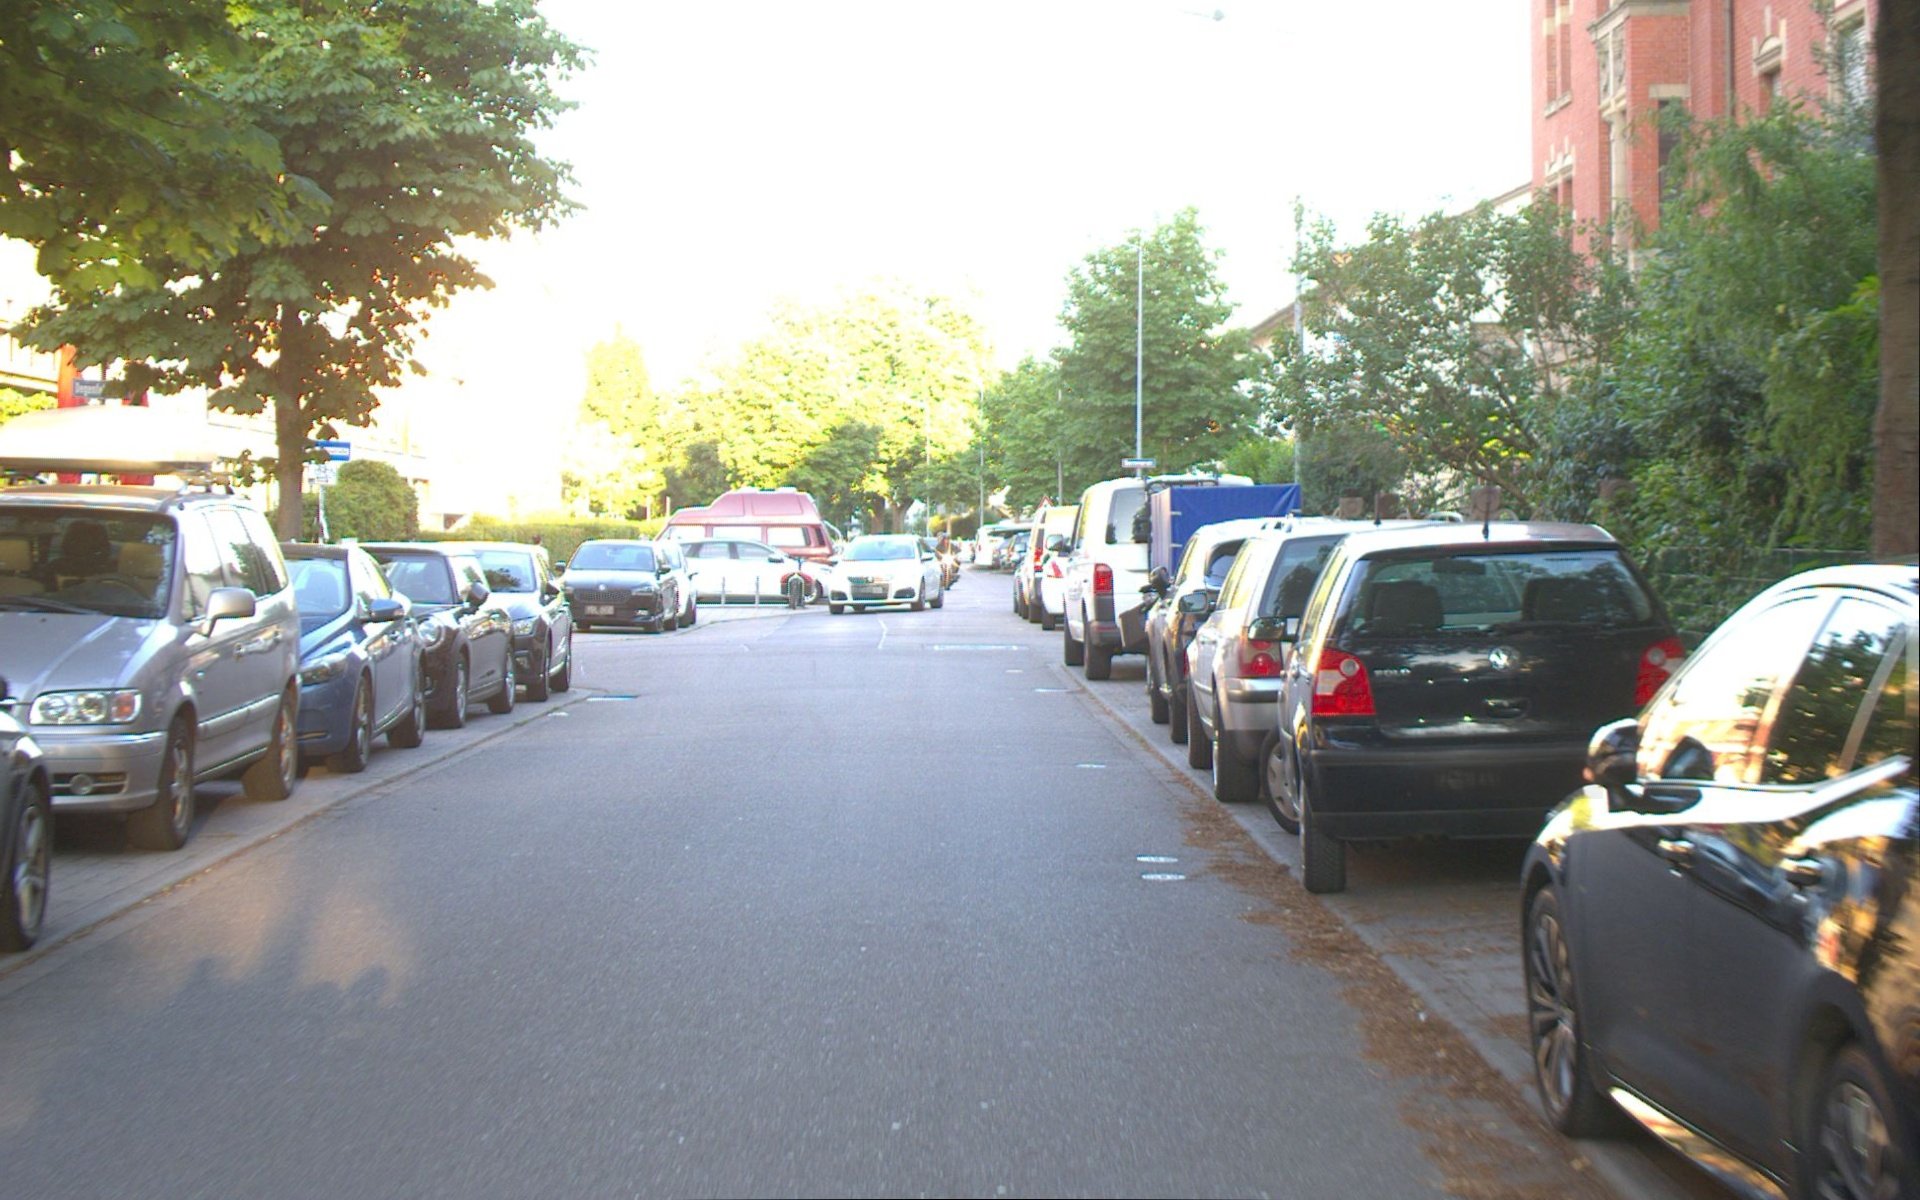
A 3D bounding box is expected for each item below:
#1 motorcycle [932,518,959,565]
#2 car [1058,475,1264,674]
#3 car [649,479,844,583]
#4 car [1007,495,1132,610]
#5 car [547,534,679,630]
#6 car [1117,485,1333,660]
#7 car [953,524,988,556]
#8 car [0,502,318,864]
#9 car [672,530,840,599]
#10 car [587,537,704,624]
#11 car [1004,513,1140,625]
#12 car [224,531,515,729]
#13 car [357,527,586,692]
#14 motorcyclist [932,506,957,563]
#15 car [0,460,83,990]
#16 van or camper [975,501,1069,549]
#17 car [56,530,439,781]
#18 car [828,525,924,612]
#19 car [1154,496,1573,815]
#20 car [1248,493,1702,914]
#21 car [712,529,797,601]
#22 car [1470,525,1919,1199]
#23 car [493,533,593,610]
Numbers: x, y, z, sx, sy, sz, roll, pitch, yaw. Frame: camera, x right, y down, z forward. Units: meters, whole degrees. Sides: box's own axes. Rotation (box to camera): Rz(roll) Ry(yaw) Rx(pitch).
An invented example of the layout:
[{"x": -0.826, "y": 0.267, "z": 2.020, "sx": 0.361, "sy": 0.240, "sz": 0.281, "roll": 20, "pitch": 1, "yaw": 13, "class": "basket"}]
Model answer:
[{"x": -0.433, "y": -1.696, "z": 98.461, "sx": 0.742, "sy": 1.246, "sz": 3.378, "roll": -1, "pitch": 3, "yaw": 0, "class": "motorcycle"}, {"x": 2.002, "y": -0.284, "z": 35.259, "sx": 1.680, "sy": 1.934, "sz": 3.881, "roll": 0, "pitch": 1, "yaw": -3, "class": "car"}, {"x": -4.792, "y": -1.567, "z": 77.648, "sx": 4.349, "sy": 2.310, "sz": 1.746, "roll": 0, "pitch": 2, "yaw": -2, "class": "car"}, {"x": 1.747, "y": -0.784, "z": 55.947, "sx": 1.686, "sy": 1.805, "sz": 3.940, "roll": 0, "pitch": 1, "yaw": -3, "class": "car"}, {"x": -5.499, "y": -0.292, "z": 54.764, "sx": 1.716, "sy": 1.480, "sz": 3.630, "roll": 0, "pitch": 1, "yaw": 0, "class": "car"}, {"x": 2.378, "y": -0.271, "z": 31.562, "sx": 1.538, "sy": 1.516, "sz": 3.432, "roll": 0, "pitch": 1, "yaw": -3, "class": "car"}, {"x": 0.530, "y": -3.039, "z": 174.427, "sx": 1.715, "sy": 1.590, "sz": 3.483, "roll": 0, "pitch": 2, "yaw": -1, "class": "car"}, {"x": -4.501, "y": 0.310, "z": 17.361, "sx": 1.715, "sy": 1.590, "sz": 4.519, "roll": 0, "pitch": 1, "yaw": -1, "class": "car"}, {"x": -4.464, "y": -0.784, "z": 75.107, "sx": 3.618, "sy": 1.456, "sz": 1.607, "roll": 0, "pitch": 2, "yaw": -4, "class": "car"}, {"x": -5.508, "y": -0.361, "z": 60.515, "sx": 1.716, "sy": 1.436, "sz": 3.631, "roll": 0, "pitch": 2, "yaw": 0, "class": "car"}, {"x": 1.620, "y": -0.478, "z": 51.054, "sx": 1.686, "sy": 1.600, "sz": 3.940, "roll": 0, "pitch": 1, "yaw": -3, "class": "car"}, {"x": -4.610, "y": 0.185, "z": 27.295, "sx": 1.715, "sy": 1.436, "sz": 3.631, "roll": 0, "pitch": 2, "yaw": -1, "class": "car"}, {"x": -4.553, "y": 0.045, "z": 32.475, "sx": 1.599, "sy": 1.436, "sz": 3.838, "roll": 0, "pitch": 2, "yaw": 0, "class": "car"}, {"x": -0.436, "y": -1.889, "z": 99.105, "sx": 0.702, "sy": 1.625, "sz": 0.822, "roll": -1, "pitch": 1, "yaw": 0, "class": "motorcyclist"}, {"x": -4.081, "y": 0.452, "z": 10.588, "sx": 1.715, "sy": 1.784, "sz": 4.216, "roll": 0, "pitch": 2, "yaw": -1, "class": "car"}, {"x": 3.579, "y": -4.381, "z": 200.083, "sx": 5.262, "sy": 2.782, "sz": 1.552, "roll": 0, "pitch": 2, "yaw": -11, "class": "van or camper"}, {"x": -4.558, "y": 0.291, "z": 22.535, "sx": 1.715, "sy": 1.460, "sz": 3.987, "roll": 0, "pitch": 2, "yaw": -1, "class": "car"}, {"x": -1.593, "y": -0.630, "z": 66.129, "sx": 1.813, "sy": 1.590, "sz": 3.483, "roll": 0, "pitch": 2, "yaw": -1, "class": "car"}, {"x": 2.145, "y": 0.242, "z": 19.283, "sx": 1.686, "sy": 1.600, "sz": 3.940, "roll": 0, "pitch": 1, "yaw": -3, "class": "car"}, {"x": 2.124, "y": 0.355, "z": 15.072, "sx": 1.687, "sy": 1.600, "sz": 3.939, "roll": 0, "pitch": 1, "yaw": 4, "class": "car"}, {"x": -4.316, "y": -0.750, "z": 72.109, "sx": 1.715, "sy": 1.436, "sz": 3.631, "roll": 0, "pitch": 2, "yaw": -4, "class": "car"}, {"x": 2.251, "y": 0.571, "z": 7.007, "sx": 1.687, "sy": 1.436, "sz": 4.210, "roll": -2, "pitch": 1, "yaw": -1, "class": "car"}, {"x": -8.179, "y": -0.579, "z": 67.635, "sx": 1.715, "sy": 1.436, "sz": 3.631, "roll": -1, "pitch": 1, "yaw": -4, "class": "car"}]
